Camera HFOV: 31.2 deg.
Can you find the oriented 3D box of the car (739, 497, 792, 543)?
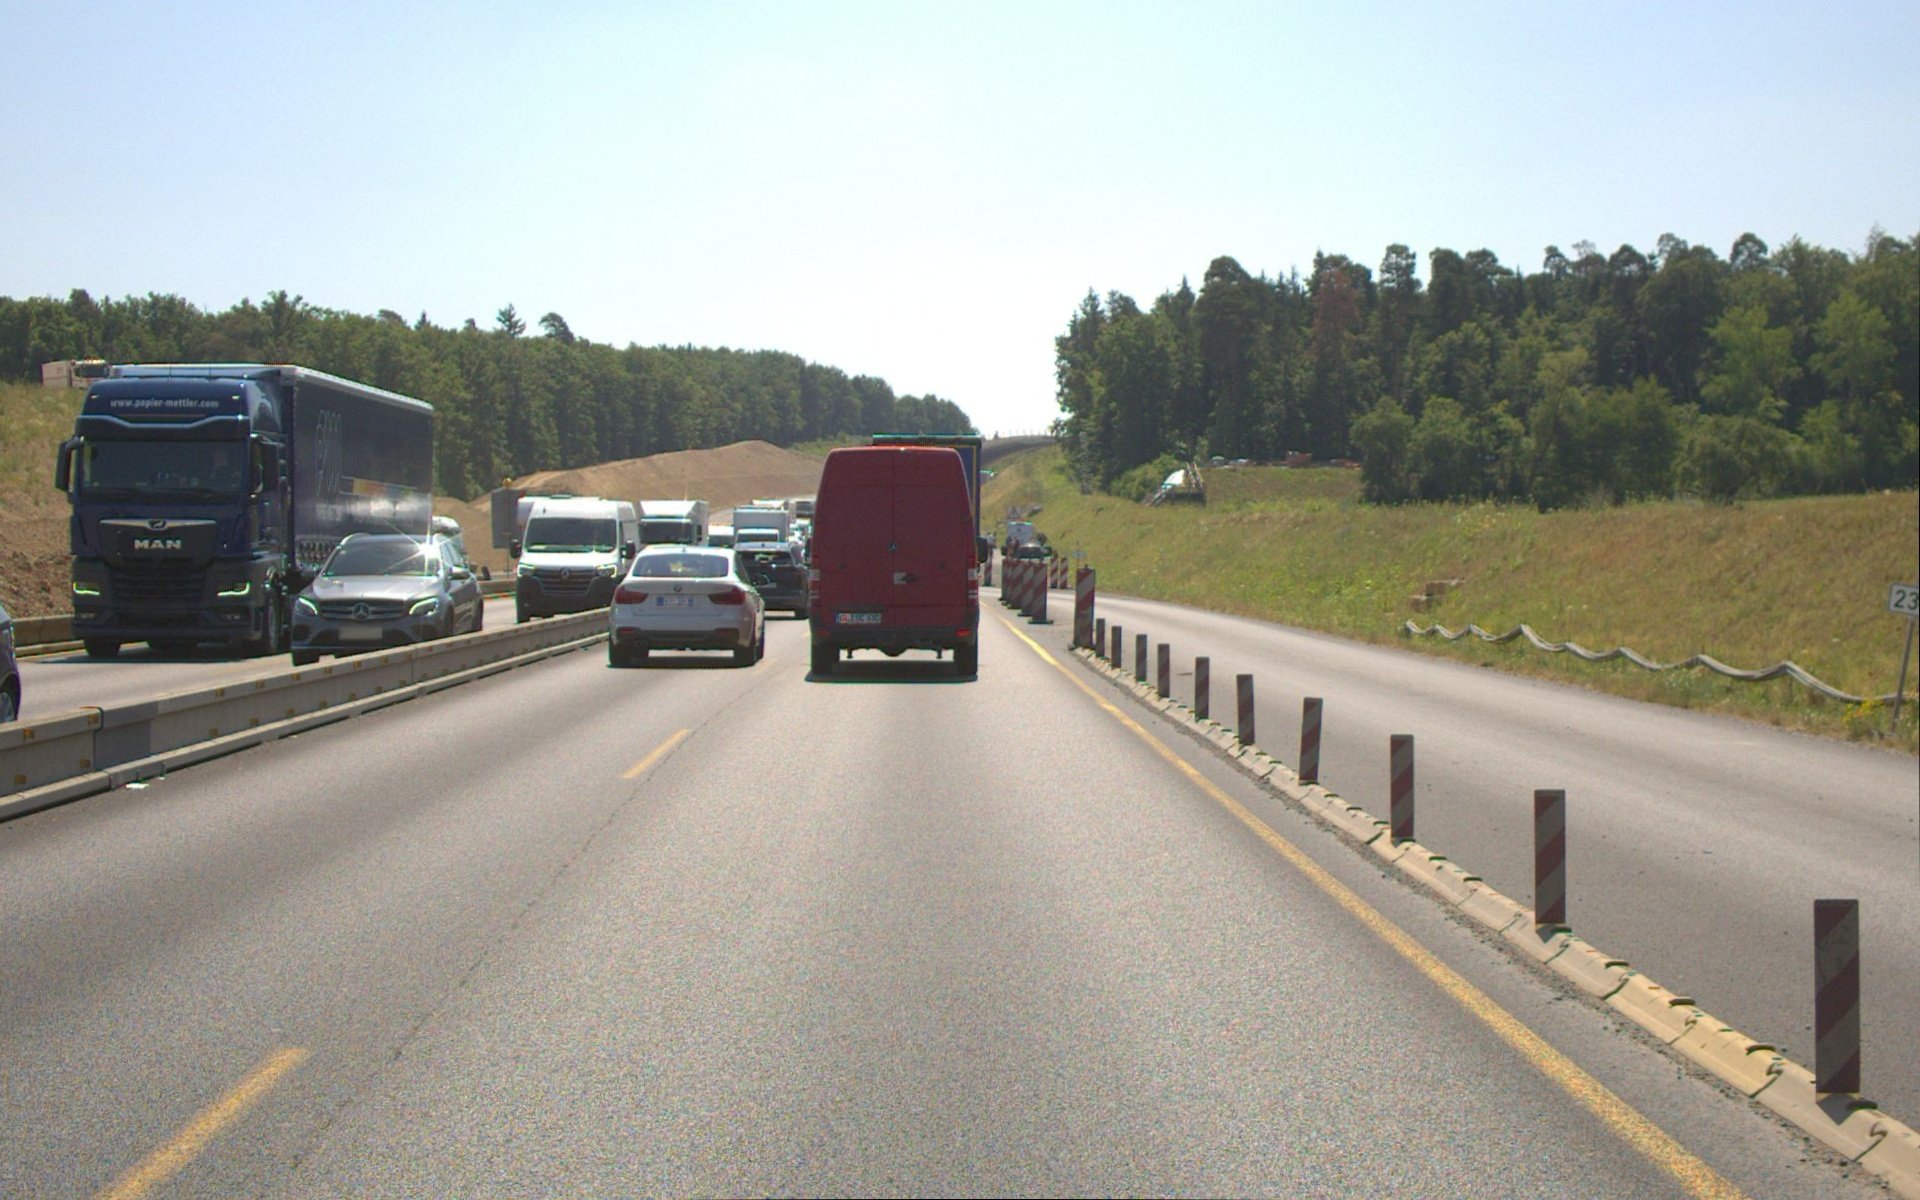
[{"bbox_3d":[-8.136,-3.357,144.103,1.993,1.897,4.000,0,1,-1],"label":"car"}]

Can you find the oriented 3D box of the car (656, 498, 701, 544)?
[{"bbox_3d":[-11.480,-3.206,140.215,1.723,1.823,3.559,0,1,-3],"label":"car"}]

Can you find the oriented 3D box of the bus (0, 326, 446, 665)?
[{"bbox_3d":[-11.062,-1.535,53.411,3.942,4.400,17.202,0,1,-1],"label":"bus"}]

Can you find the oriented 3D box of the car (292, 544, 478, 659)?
[{"bbox_3d":[-7.062,-0.014,42.511,1.722,1.341,3.626,0,1,-1],"label":"car"}]

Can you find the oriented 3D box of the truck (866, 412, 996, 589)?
[{"bbox_3d":[-0.674,-2.433,84.978,3.015,4.138,8.273,0,1,0],"label":"truck"}]

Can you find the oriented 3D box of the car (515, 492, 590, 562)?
[{"bbox_3d":[-11.902,-2.131,100.643,1.763,2.007,3.827,0,1,-1],"label":"car"}]

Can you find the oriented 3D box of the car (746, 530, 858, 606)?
[{"bbox_3d":[-3.283,-0.690,72.035,1.795,1.529,3.930,0,1,5],"label":"car"}]

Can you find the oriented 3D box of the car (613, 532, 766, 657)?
[{"bbox_3d":[-3.469,-0.114,44.747,1.795,1.529,5.074,1,1,-3],"label":"car"}]

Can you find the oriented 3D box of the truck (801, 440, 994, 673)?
[{"bbox_3d":[-0.671,-0.558,42.089,2.112,2.624,6.484,0,1,1],"label":"truck"}]

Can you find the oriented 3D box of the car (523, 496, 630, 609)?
[{"bbox_3d":[-7.494,-0.949,67.441,1.858,2.147,3.626,0,1,-3],"label":"car"}]

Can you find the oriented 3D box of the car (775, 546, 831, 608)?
[{"bbox_3d":[-5.279,-0.800,115.874,1.763,2.007,3.827,0,1,-1],"label":"car"}]

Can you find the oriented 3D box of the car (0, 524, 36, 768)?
[{"bbox_3d":[-6.919,0.323,20.667,1.652,1.553,4.096,0,1,-1],"label":"car"}]
